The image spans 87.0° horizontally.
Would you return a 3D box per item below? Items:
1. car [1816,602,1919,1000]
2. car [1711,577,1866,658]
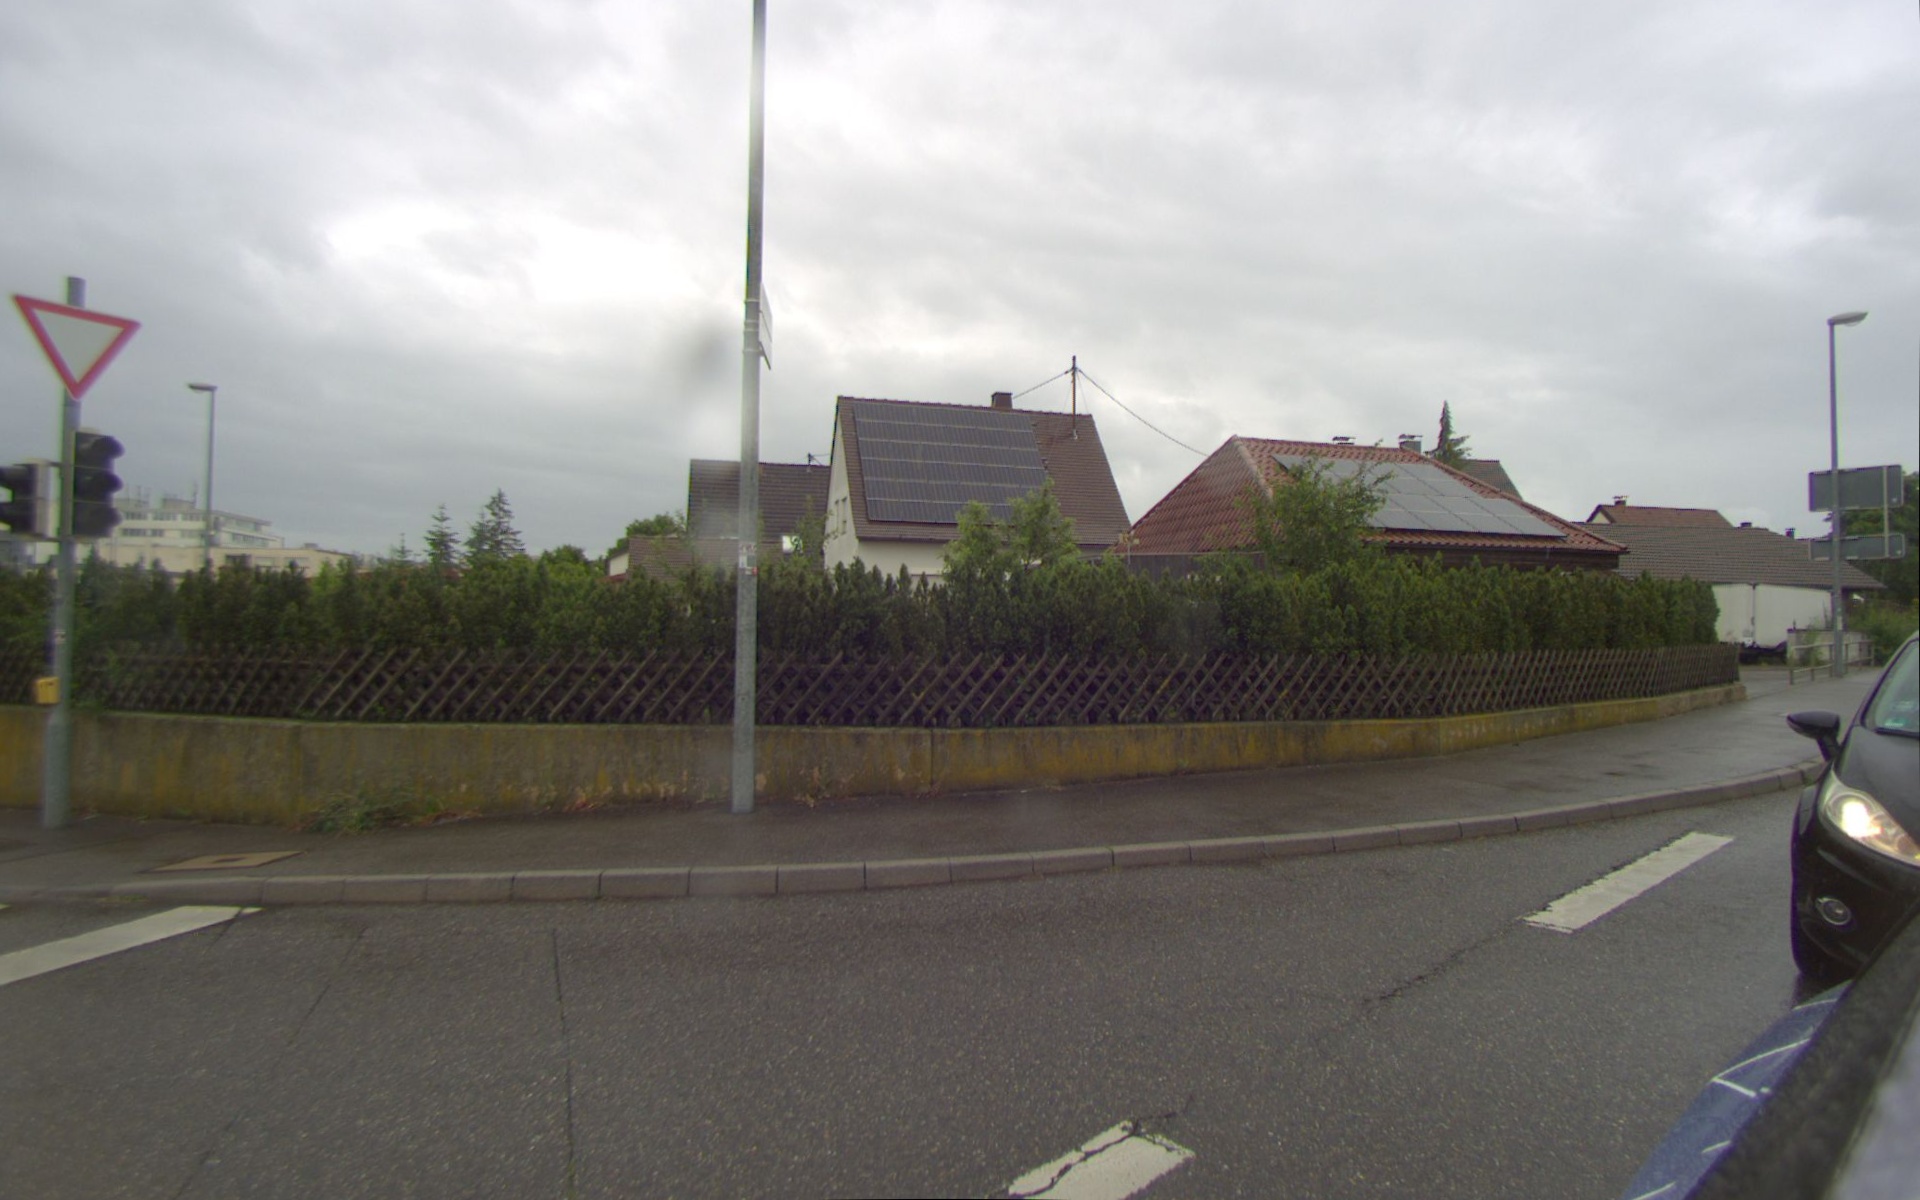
[{"bbox_3d":[5.338,0.753,4.693,3.867,1.436,1.663,-1,1,-43],"label":"car"},{"bbox_3d":[25.523,0.518,31.207,3.916,2.380,1.657,0,-1,-14],"label":"car"}]
